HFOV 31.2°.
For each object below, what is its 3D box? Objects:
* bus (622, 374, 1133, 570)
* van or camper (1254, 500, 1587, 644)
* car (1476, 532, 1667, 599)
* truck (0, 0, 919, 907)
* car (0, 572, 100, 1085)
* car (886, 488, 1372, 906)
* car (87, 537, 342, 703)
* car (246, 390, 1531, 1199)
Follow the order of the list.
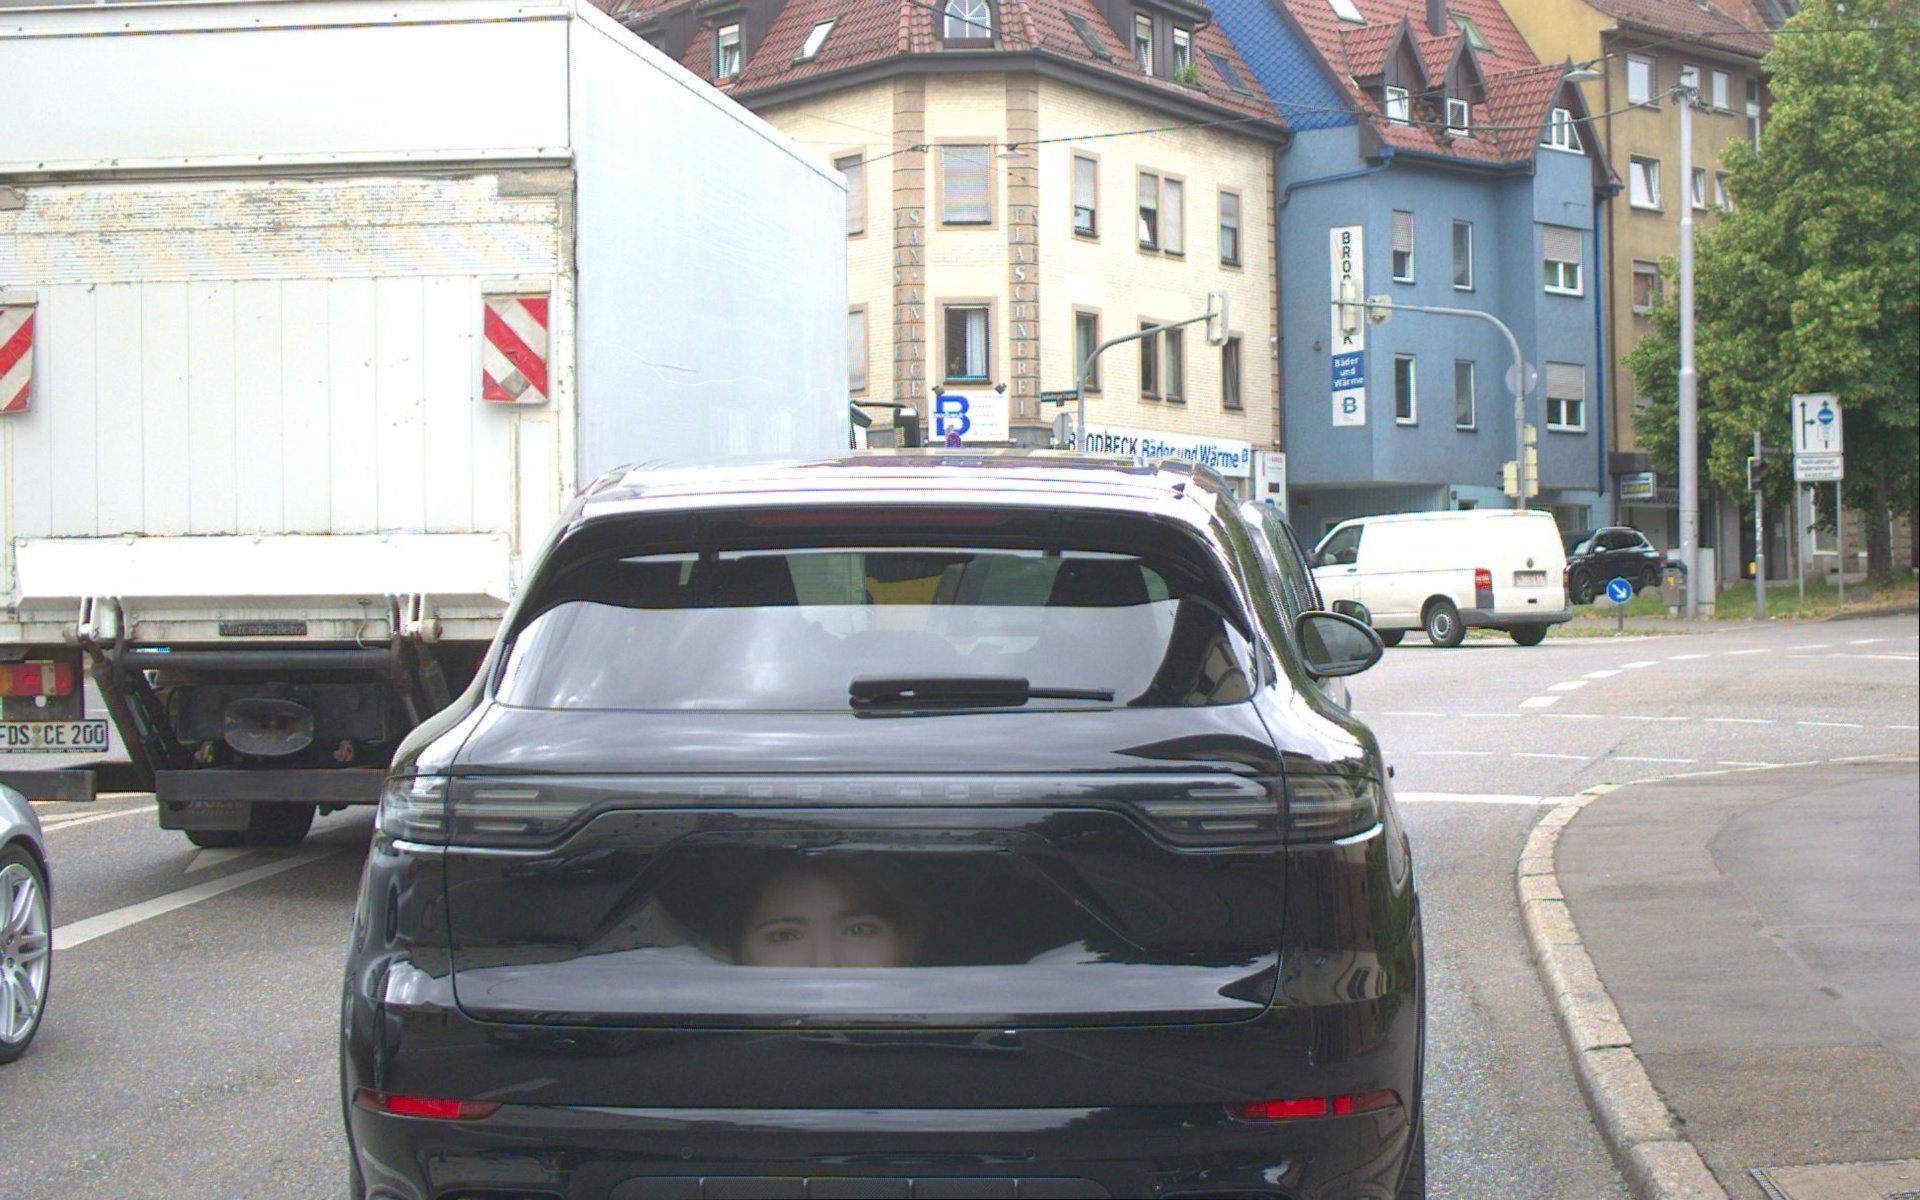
[{"bbox_3d":[-1.807,-2.201,62.795,3.157,3.085,12.150,-2,0,-34],"label":"bus"},{"bbox_3d":[6.699,-0.423,50.505,1.994,2.007,4.830,0,1,-37],"label":"van or camper"},{"bbox_3d":[13.603,-0.748,76.330,1.875,1.411,4.686,-1,-1,44],"label":"car"},{"bbox_3d":[-2.199,-0.702,17.351,2.726,3.532,8.419,1,1,8],"label":"truck"},{"bbox_3d":[-3.488,0.654,8.003,1.629,1.360,4.128,-1,1,5],"label":"car"},{"bbox_3d":[0.843,0.347,14.791,1.649,1.550,3.581,1,1,10],"label":"car"},{"bbox_3d":[-6.799,0.153,31.639,1.598,1.442,3.530,0,1,0],"label":"car"},{"bbox_3d":[-0.143,0.483,7.731,2.031,1.717,4.500,1,1,-1],"label":"car"}]
